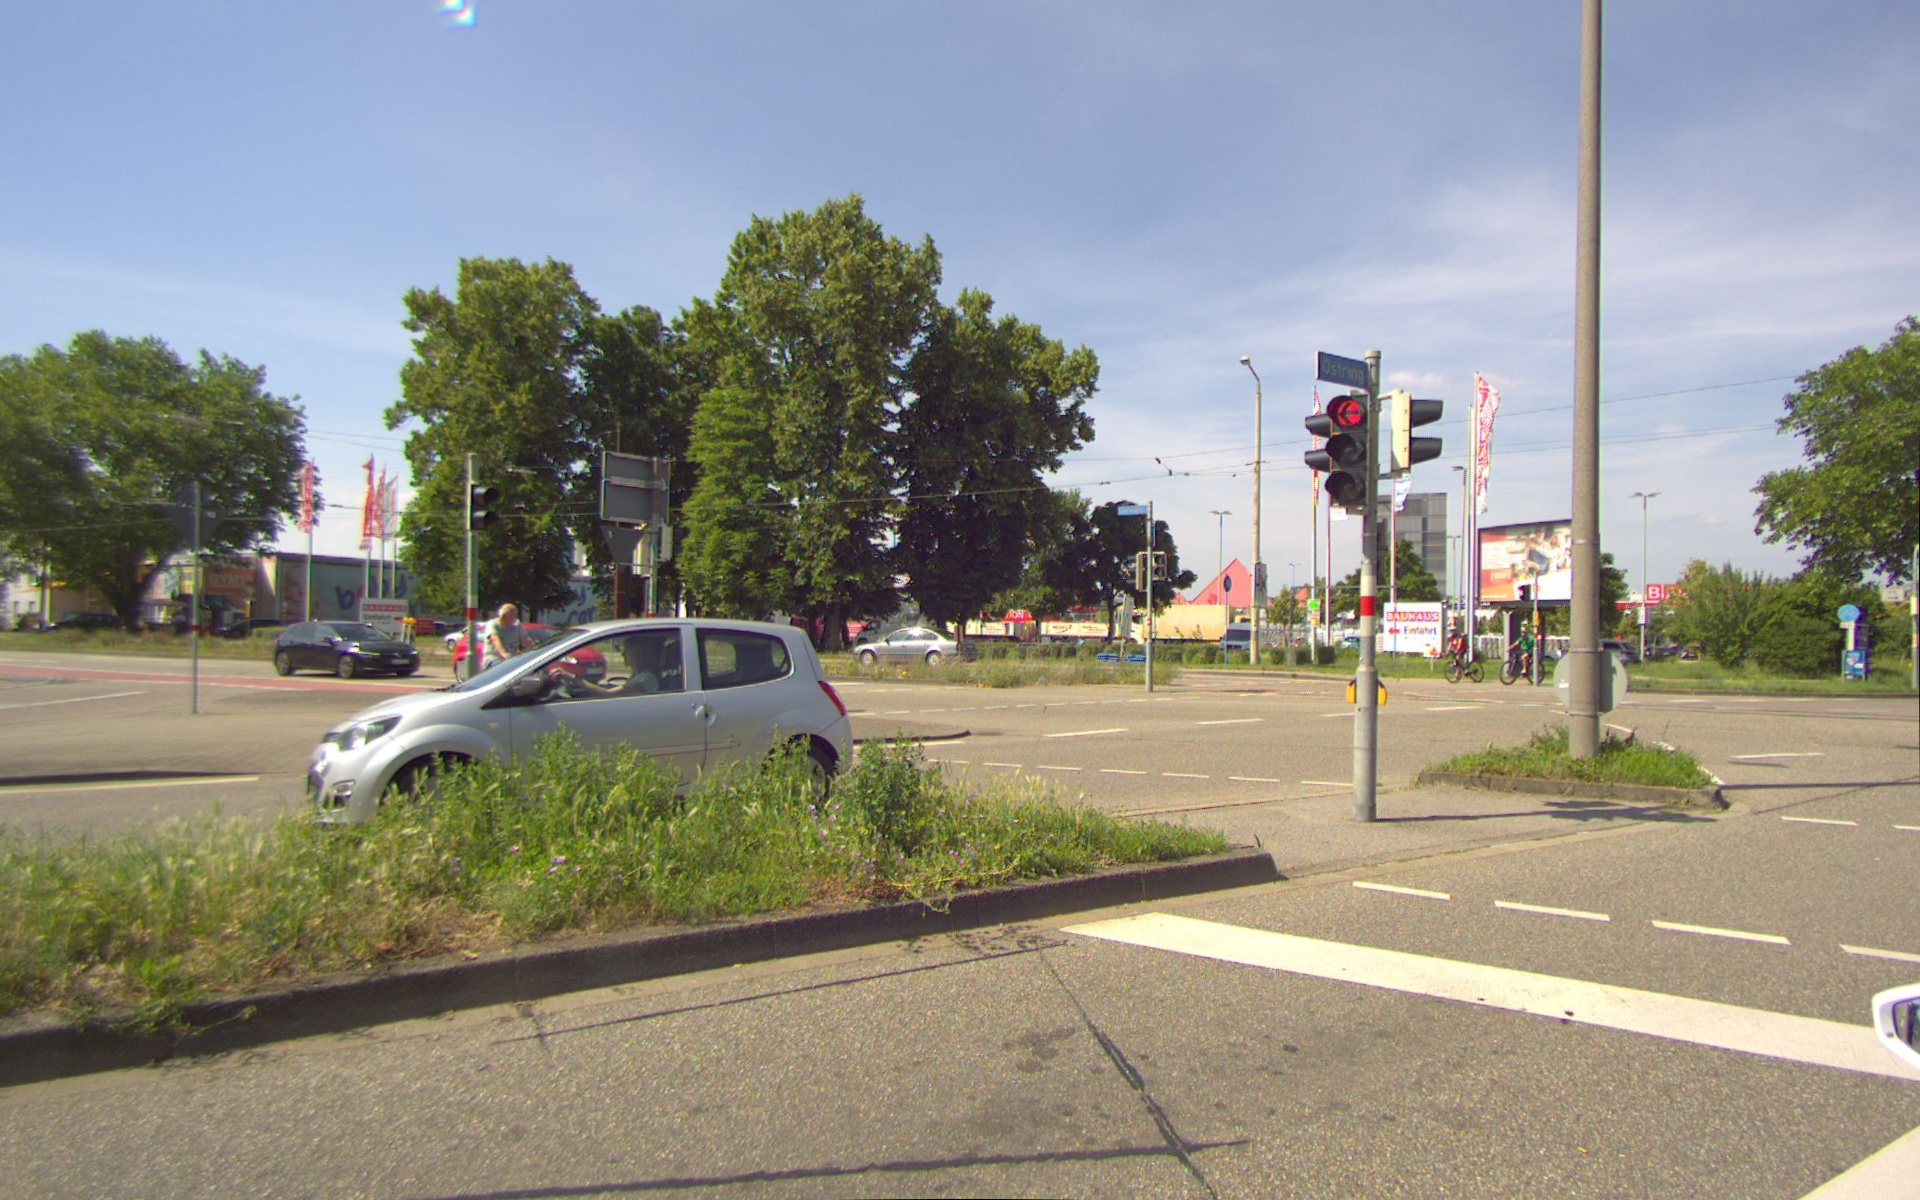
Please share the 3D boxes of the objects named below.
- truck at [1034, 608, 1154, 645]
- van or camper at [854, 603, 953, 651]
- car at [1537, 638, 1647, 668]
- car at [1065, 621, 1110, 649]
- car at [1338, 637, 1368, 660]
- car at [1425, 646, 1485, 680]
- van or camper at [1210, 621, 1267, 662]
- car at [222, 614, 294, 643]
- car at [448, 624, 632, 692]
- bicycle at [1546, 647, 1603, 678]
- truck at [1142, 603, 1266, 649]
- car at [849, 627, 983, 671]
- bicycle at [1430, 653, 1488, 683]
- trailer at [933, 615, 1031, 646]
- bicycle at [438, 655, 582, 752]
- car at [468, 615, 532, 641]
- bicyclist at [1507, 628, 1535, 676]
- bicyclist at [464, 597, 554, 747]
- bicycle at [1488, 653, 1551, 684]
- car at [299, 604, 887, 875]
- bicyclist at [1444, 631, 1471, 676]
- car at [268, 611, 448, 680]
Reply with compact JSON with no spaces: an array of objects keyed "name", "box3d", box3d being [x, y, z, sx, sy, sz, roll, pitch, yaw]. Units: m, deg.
[{"name":"truck","box3d":[11.054,2.144,83.201,9.431,2.930,2.925,0,-2,24]},{"name":"van or camper","box3d":[-3.900,1.836,68.776,6.207,3.141,2.709,1,-1,26]},{"name":"car","box3d":[33.636,2.815,53.591,2.180,1.432,4.529,2,-2,-37]},{"name":"car","box3d":[12.528,3.425,98.433,2.344,2.562,6.118,0,-2,28]},{"name":"car","box3d":[27.904,3.420,71.330,1.787,1.593,4.278,0,-2,24]},{"name":"car","box3d":[26.360,3.316,53.600,2.157,1.593,4.579,0,-2,17]},{"name":"van or camper","box3d":[16.179,2.395,58.162,2.155,2.239,5.513,0,-2,26]},{"name":"car","box3d":[-51.509,2.115,73.756,1.971,2.040,3.980,0,-2,41]},{"name":"car","box3d":[-9.945,1.321,23.804,3.924,1.468,1.846,0,-2,25]},{"name":"bicycle","box3d":[21.575,2.199,35.268,1.864,1.051,0.594,1,-1,-16]},{"name":"truck","box3d":[18.464,1.930,76.193,8.753,3.355,3.159,0,-2,23]},{"name":"car","box3d":[-1.537,1.662,34.819,4.379,1.430,1.638,0,-2,26]},{"name":"bicycle","box3d":[16.004,2.180,32.197,1.719,0.950,0.434,1,-1,-8]},{"name":"trailer","box3d":[1.865,2.638,87.431,8.057,2.523,2.924,0,-2,26]},{"name":"bicycle","box3d":[-5.694,1.266,12.650,2.128,1.078,0.524,0,-2,31]},{"name":"car","box3d":[-41.431,2.528,90.570,2.112,2.308,5.037,0,-2,26]},{"name":"bicyclist","box3d":[17.704,1.634,31.699,0.599,1.511,0.528,1,-1,-15]},{"name":"bicyclist","box3d":[-5.675,0.885,12.662,0.754,1.812,0.704,0,-1,31]},{"name":"bicycle","box3d":[17.650,2.148,31.679,1.963,0.950,0.416,1,-1,-14]},{"name":"car","box3d":[-2.555,0.850,7.368,3.692,1.534,1.641,2,-2,-30]},{"name":"bicyclist","box3d":[15.970,1.712,32.245,0.598,1.432,0.529,1,-1,-7]},{"name":"car","box3d":[-16.015,1.189,26.768,3.920,1.721,2.001,0,-2,18]}]
